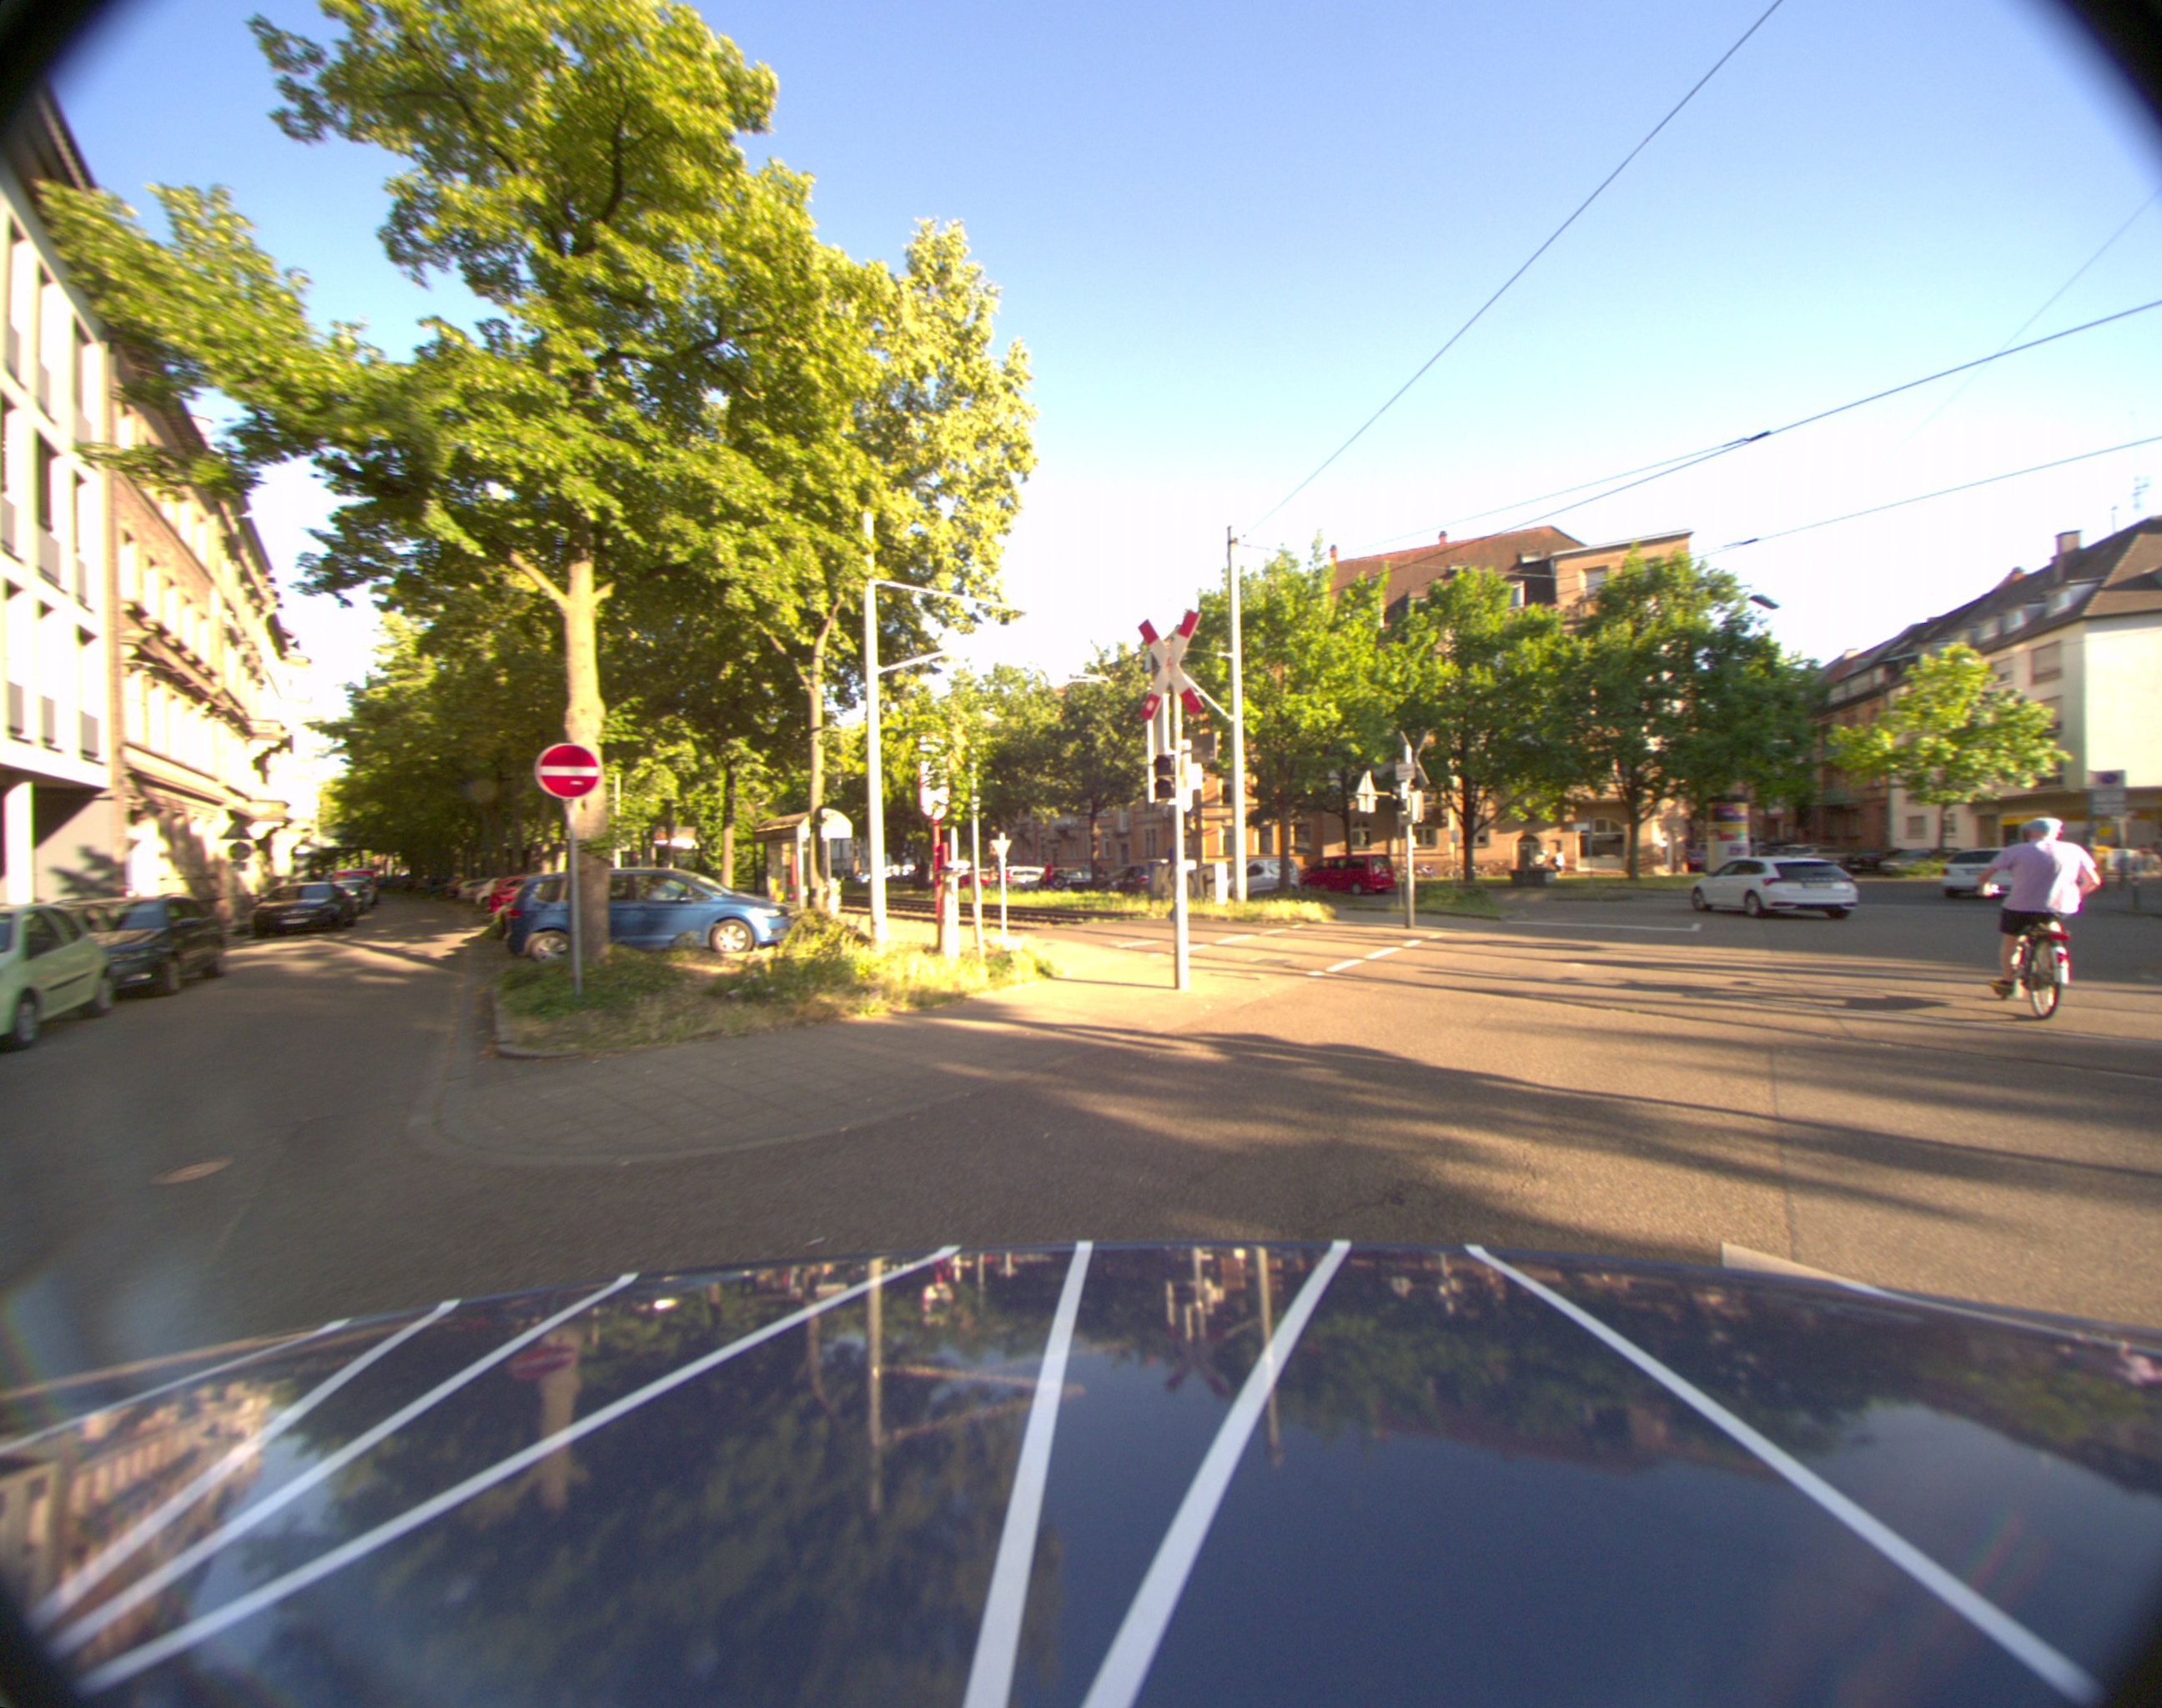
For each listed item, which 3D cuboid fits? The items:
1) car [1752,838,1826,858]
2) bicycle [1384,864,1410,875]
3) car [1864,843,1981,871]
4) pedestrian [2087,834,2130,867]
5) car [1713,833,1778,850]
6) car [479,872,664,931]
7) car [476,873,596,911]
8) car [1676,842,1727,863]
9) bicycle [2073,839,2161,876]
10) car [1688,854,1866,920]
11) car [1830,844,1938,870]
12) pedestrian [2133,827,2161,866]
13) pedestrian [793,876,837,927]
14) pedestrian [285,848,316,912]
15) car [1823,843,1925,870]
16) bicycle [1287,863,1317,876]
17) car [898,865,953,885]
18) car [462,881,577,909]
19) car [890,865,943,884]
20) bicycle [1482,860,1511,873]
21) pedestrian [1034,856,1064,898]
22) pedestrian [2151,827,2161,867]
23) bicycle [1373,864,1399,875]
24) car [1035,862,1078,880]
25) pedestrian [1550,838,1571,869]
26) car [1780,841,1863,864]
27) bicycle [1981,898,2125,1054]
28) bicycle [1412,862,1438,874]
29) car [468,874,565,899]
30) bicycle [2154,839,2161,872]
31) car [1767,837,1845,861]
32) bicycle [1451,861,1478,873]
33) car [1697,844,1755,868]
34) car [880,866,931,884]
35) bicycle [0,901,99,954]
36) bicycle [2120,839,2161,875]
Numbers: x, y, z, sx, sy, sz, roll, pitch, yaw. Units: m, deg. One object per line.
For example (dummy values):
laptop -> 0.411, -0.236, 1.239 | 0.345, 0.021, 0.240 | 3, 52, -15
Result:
car -> 53.610, -0.417, 57.594 | 3.998, 1.392, 1.873 | -1, 0, -3
bicycle -> 20.318, 0.992, 48.833 | 1.506, 0.728, 0.369 | -1, 0, 24
car -> 46.116, 0.172, 41.734 | 3.994, 1.392, 1.875 | -1, 0, 9
pedestrian -> 50.900, -0.164, 37.654 | 0.961, 1.560, 0.893 | -1, 0, 27
car -> 57.130, -1.073, 65.375 | 3.998, 1.392, 1.873 | -1, 0, -3
car -> -15.983, 1.462, 24.011 | 4.549, 1.711, 1.930 | -1, 0, 1
car -> -25.909, 1.795, 36.235 | 4.281, 1.685, 1.808 | -1, 0, -6
car -> 42.443, -0.099, 52.062 | 1.869, 1.392, 4.007 | -1, 0, 27
bicycle -> 43.752, 0.123, 32.150 | 0.879, 1.437, 3.385 | -1, 1, 29
car -> 16.982, 0.747, 18.816 | 1.704, 1.448, 4.068 | -1, 0, 18
car -> 46.582, 0.169, 44.170 | 3.994, 1.392, 1.875 | -1, 0, 9
pedestrian -> 51.716, -0.364, 36.602 | 0.889, 1.864, 0.853 | -1, 0, 26
pedestrian -> -7.016, 1.227, 20.011 | 0.826, 1.265, 0.874 | -1, 0, -38
pedestrian -> -36.114, 1.177, 35.171 | 0.922, 2.930, 0.698 | -2, 1, -42
car -> 48.690, 0.142, 46.746 | 3.993, 1.559, 1.875 | -1, 0, 11
bicycle -> 15.125, 1.078, 51.918 | 1.894, 0.843, 0.526 | -2, 0, 25
car -> -12.577, 1.674, 61.506 | 4.006, 1.480, 1.680 | 0, 0, -30
car -> -28.141, 2.055, 38.230 | 4.282, 1.271, 1.808 | -1, 0, -8
car -> -13.806, 1.728, 63.816 | 4.006, 1.480, 1.680 | 0, 0, -30
bicycle -> 25.660, 0.769, 46.925 | 1.507, 0.728, 0.369 | -3, 0, 24
pedestrian -> -1.477, 1.042, 34.813 | 0.906, 1.907, 1.147 | -1, 0, -30
pedestrian -> 51.450, -0.333, 35.793 | 0.889, 1.864, 0.853 | -1, 0, 26
bicycle -> 19.863, 1.005, 49.467 | 1.506, 0.728, 0.369 | -1, 0, 24
car -> -2.091, 1.435, 63.817 | 1.771, 1.376, 4.280 | -4, 1, -29
pedestrian -> 27.063, -0.027, 42.901 | 0.909, 1.708, 0.676 | -1, 1, 28
car -> 50.983, -0.107, 52.338 | 3.998, 1.496, 1.873 | -1, 0, -3
bicycle -> 8.545, 0.985, 6.737 | 2.128, 1.048, 0.699 | -1, 0, -40
bicycle -> 21.946, 0.877, 48.512 | 1.506, 0.728, 0.369 | -1, 0, 24
car -> -31.890, 1.828, 43.031 | 4.000, 1.271, 1.747 | -1, 0, -9
bicycle -> 45.973, 0.087, 31.167 | 0.879, 1.437, 3.385 | -1, 1, 29
car -> 52.545, -0.338, 55.136 | 3.998, 1.626, 1.873 | -1, 0, -3
bicycle -> 24.105, 0.827, 47.764 | 1.506, 0.728, 0.369 | -1, 0, 24
car -> 39.992, 0.101, 47.222 | 1.869, 1.392, 4.007 | -1, 0, 27
car -> -15.298, 1.771, 66.155 | 4.006, 1.480, 1.680 | 0, 0, -30
bicycle -> -25.726, 1.790, 18.684 | 0.683, 1.110, 2.095 | -1, 0, -11
bicycle -> 44.907, 0.111, 31.469 | 0.879, 1.437, 3.385 | -1, 1, 29
